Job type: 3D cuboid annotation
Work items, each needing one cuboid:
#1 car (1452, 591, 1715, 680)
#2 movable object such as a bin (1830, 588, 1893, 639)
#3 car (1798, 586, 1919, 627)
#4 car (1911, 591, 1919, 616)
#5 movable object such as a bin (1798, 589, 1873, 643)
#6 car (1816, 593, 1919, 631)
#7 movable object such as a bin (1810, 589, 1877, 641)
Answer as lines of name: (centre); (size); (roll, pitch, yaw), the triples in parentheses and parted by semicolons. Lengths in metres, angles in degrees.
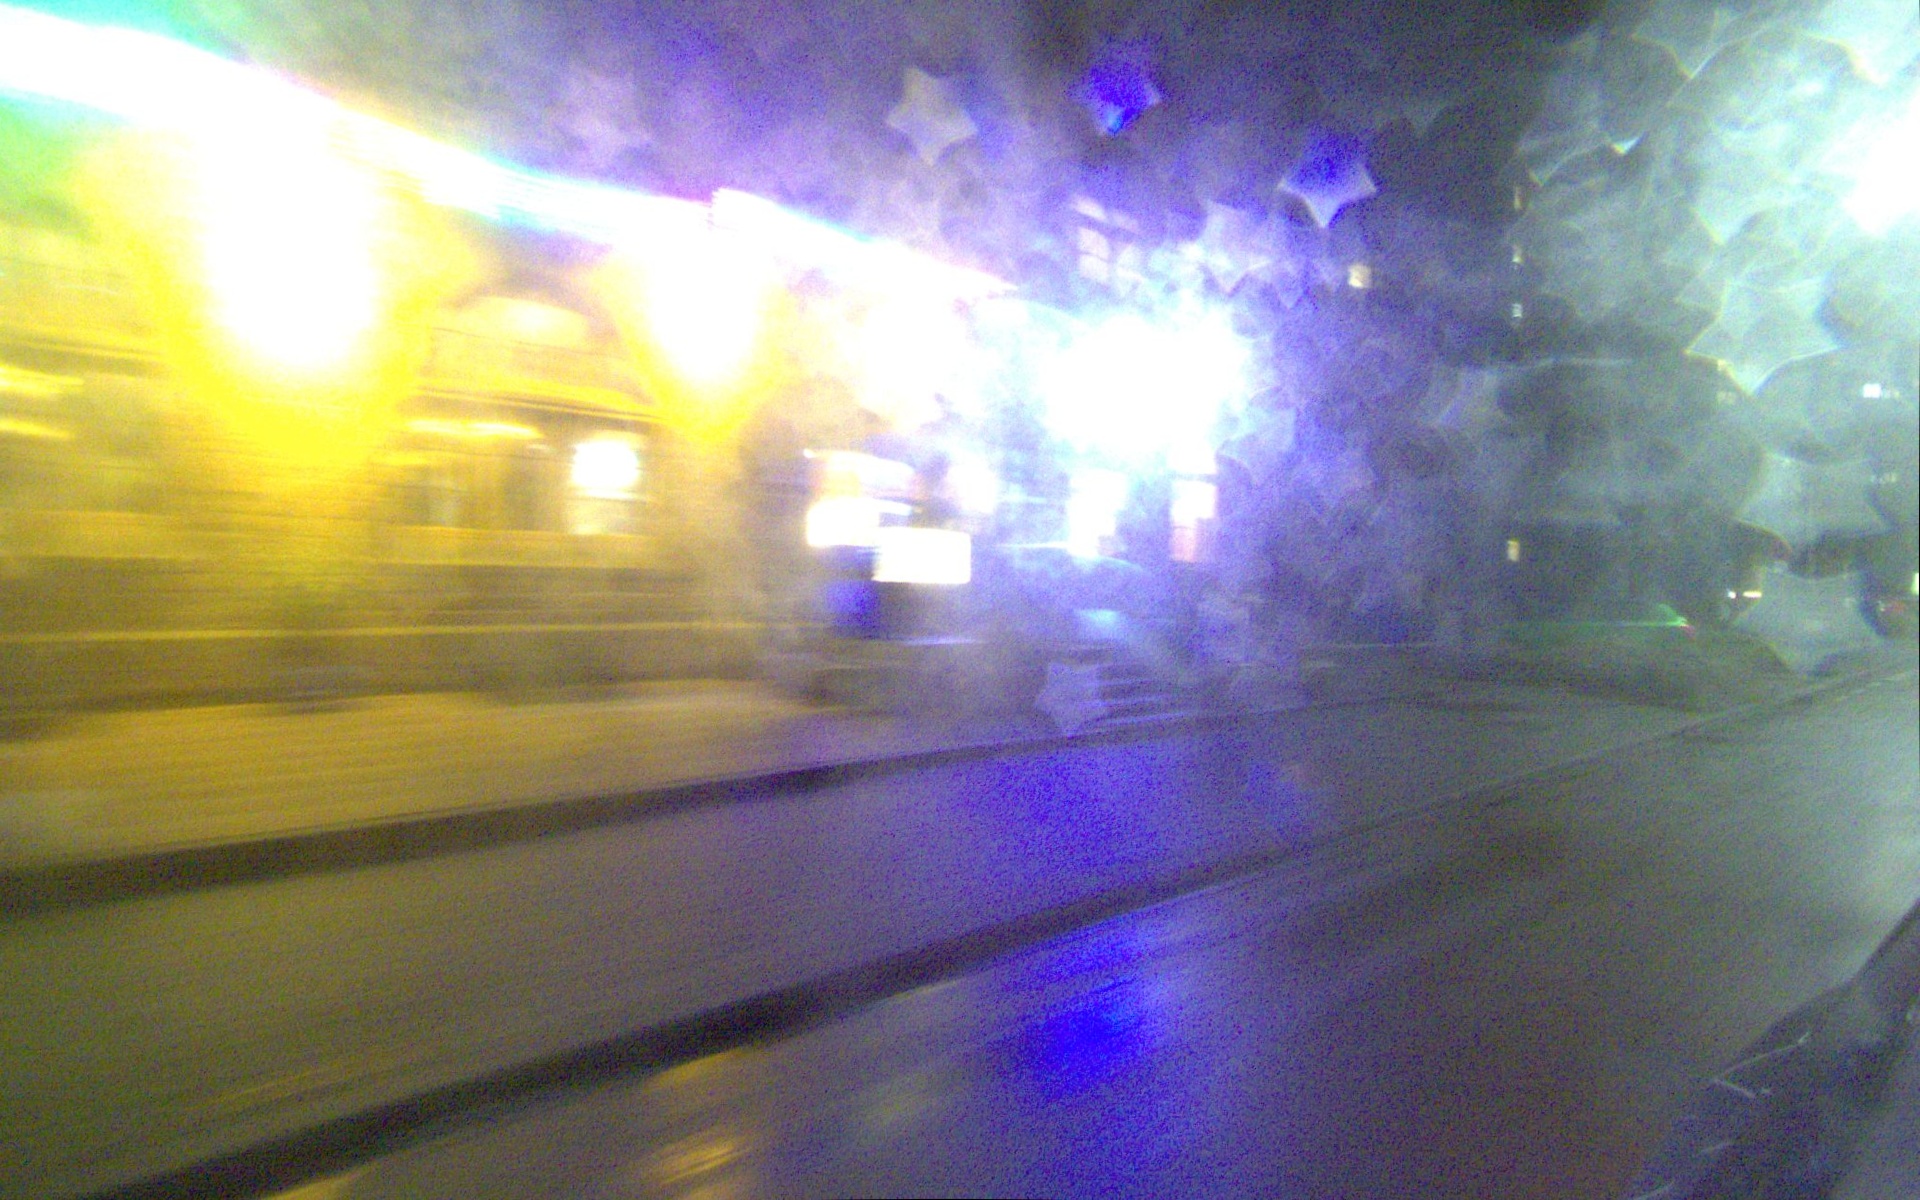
car: (11.763, 0.612, 19.474); (4.062, 1.556, 1.944); (0, 1, 25)
movable object such as a bin: (26.699, 0.379, 29.978); (1.322, 1.425, 1.141); (3, 3, 44)
car: (37.483, 0.249, 42.170); (3.676, 1.537, 1.640); (2, 2, 32)
car: (60.185, 0.233, 60.726); (4.273, 1.486, 1.676); (0, 1, 11)
movable object such as a bin: (24.837, 0.426, 28.727); (1.052, 1.440, 1.373); (-1, 2, -35)
car: (40.375, 0.520, 43.958); (4.562, 1.493, 1.820); (2, 2, 30)
movable object such as a bin: (25.688, 0.410, 29.436); (1.080, 1.440, 1.212); (-1, 2, -35)
